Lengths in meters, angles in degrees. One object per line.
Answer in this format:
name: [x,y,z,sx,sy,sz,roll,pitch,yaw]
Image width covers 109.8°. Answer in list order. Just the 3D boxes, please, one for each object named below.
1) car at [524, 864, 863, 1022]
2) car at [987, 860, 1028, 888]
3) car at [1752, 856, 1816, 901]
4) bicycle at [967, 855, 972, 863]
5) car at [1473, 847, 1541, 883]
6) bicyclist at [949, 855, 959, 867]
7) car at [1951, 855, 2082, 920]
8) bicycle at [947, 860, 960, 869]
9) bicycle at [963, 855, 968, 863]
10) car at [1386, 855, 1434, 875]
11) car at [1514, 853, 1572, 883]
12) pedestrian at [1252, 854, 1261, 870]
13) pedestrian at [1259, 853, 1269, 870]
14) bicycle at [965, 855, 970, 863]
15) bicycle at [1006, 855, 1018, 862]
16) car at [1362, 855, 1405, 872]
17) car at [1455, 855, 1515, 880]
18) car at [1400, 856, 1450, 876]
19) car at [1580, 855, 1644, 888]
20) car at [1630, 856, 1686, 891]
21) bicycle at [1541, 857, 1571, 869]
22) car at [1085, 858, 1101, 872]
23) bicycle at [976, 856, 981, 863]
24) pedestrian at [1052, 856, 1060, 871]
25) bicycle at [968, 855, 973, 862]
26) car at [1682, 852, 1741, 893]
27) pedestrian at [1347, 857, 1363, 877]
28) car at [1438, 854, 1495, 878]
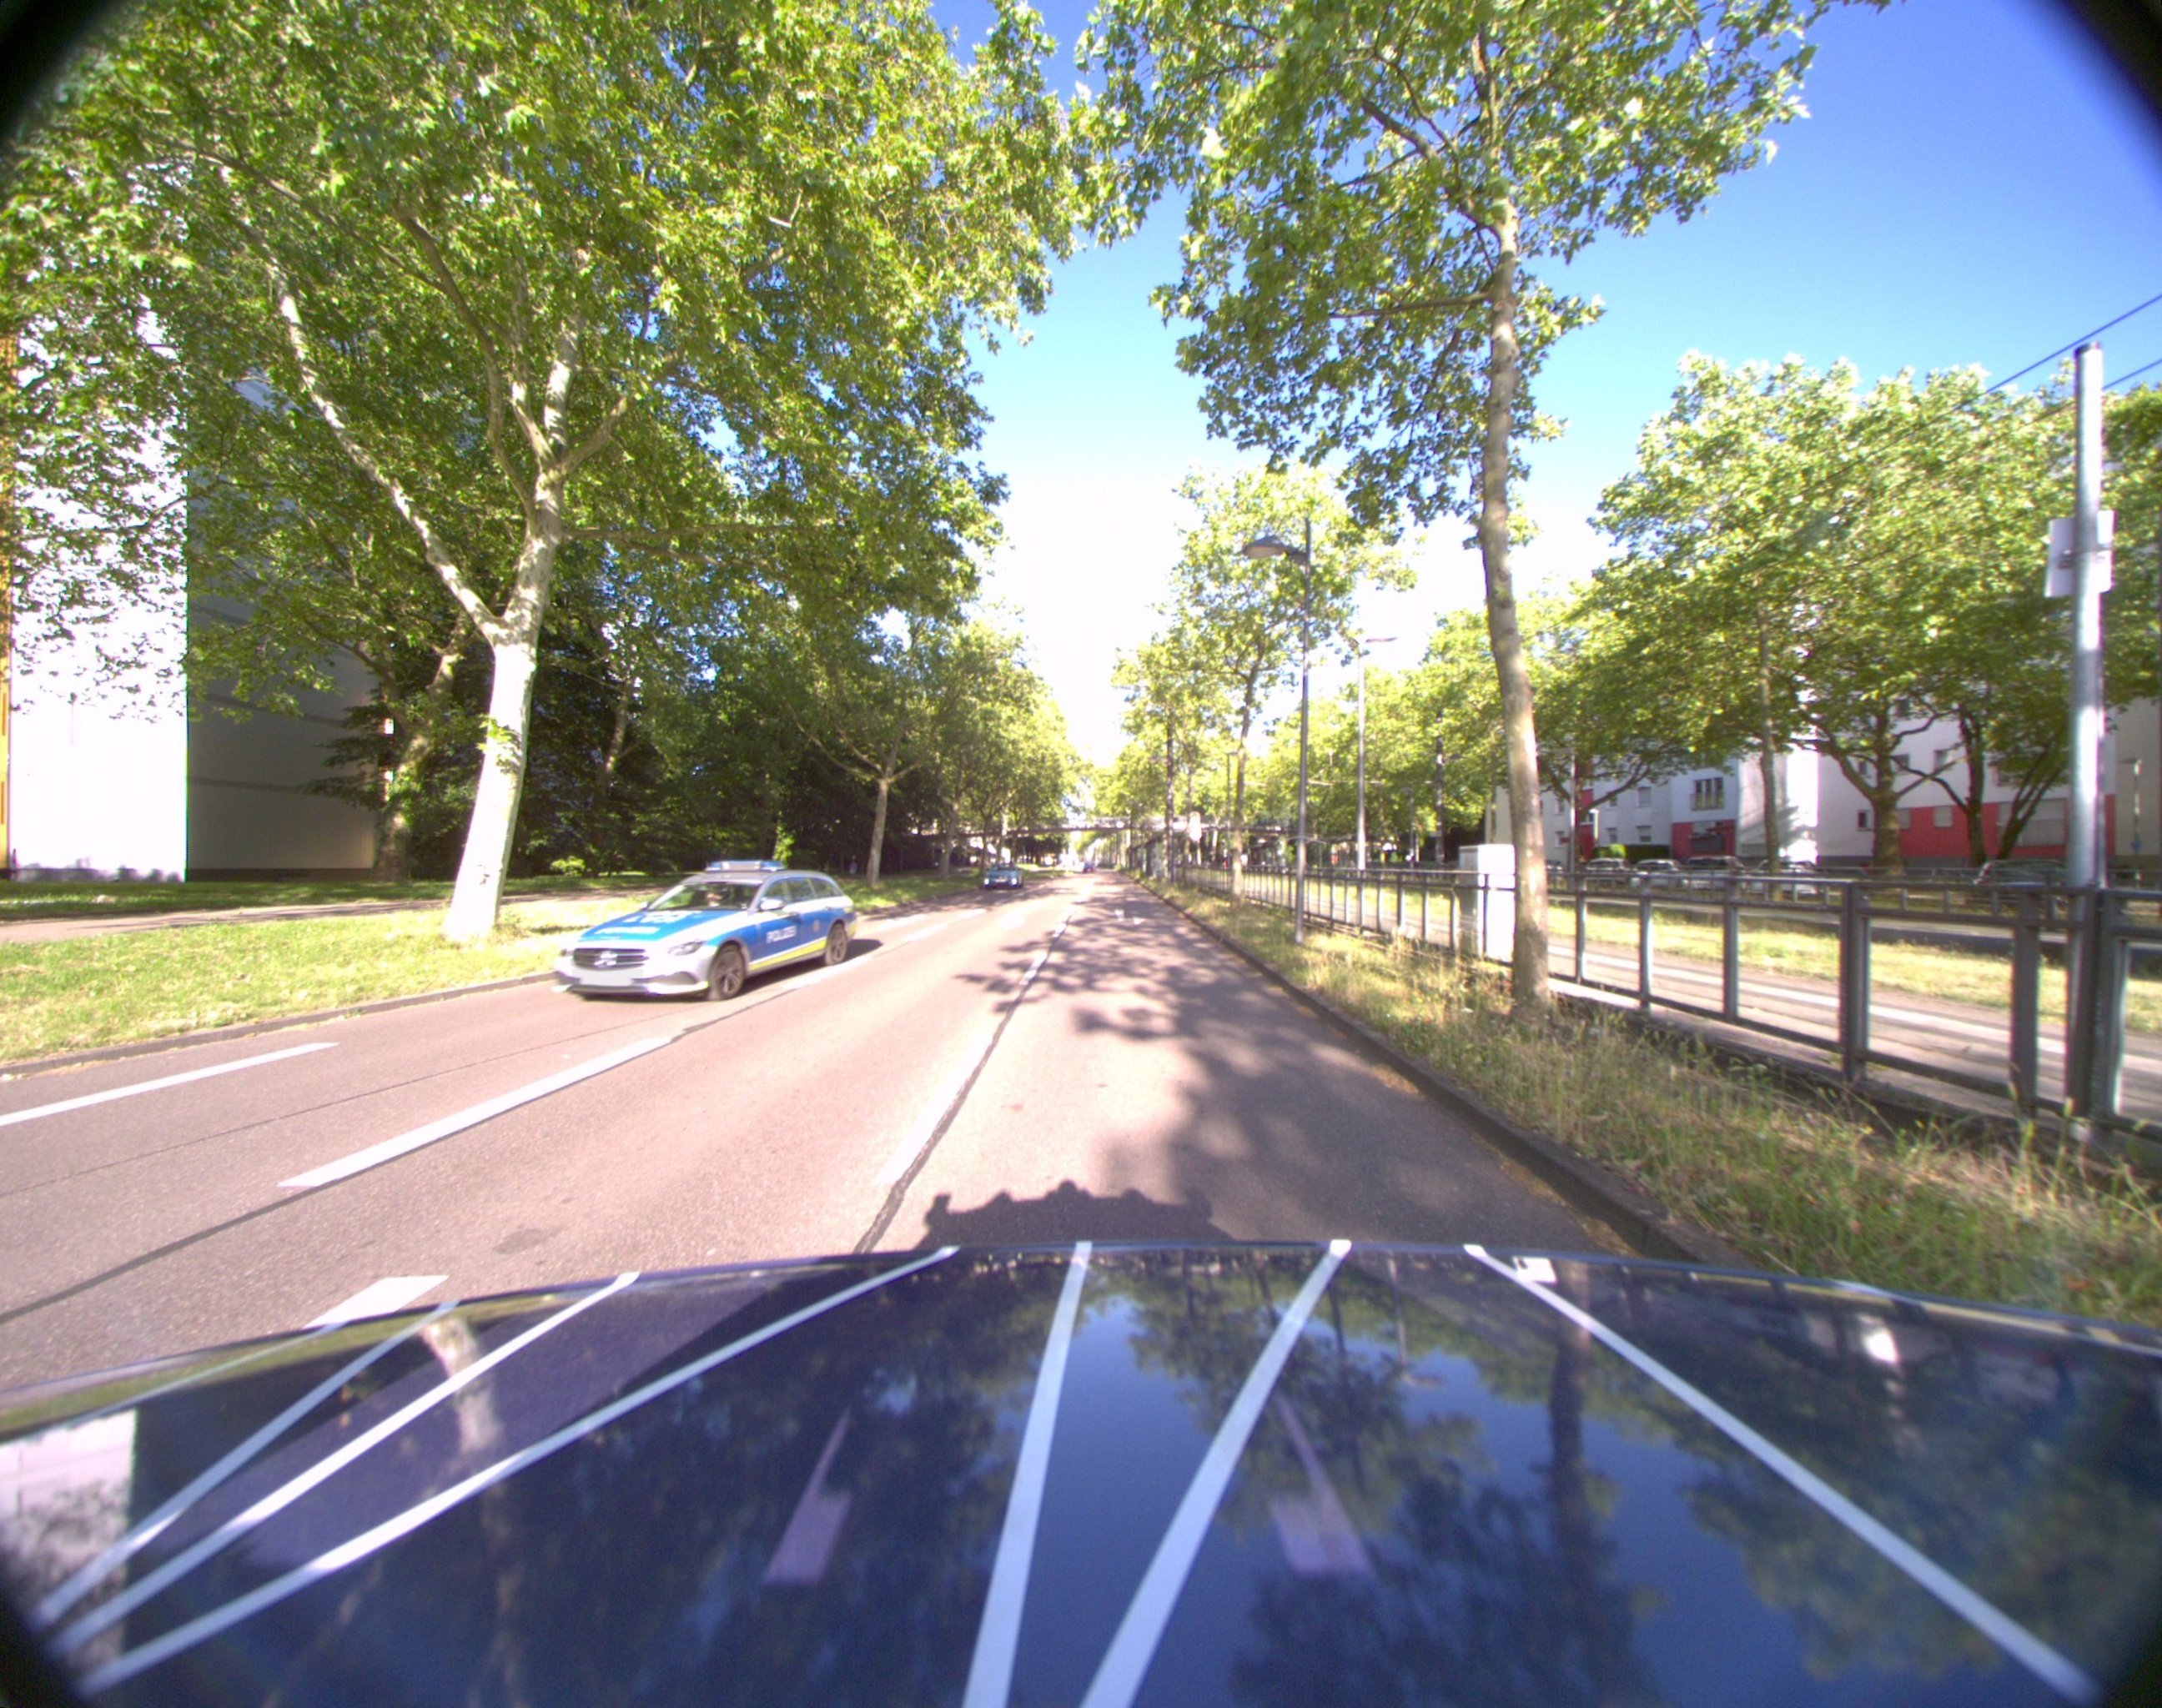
car: [-4.812,0.992,10.370,1.897,1.623,4.504,-1,0,7]
car: [-4.143,1.126,43.178,1.780,1.474,4.101,-2,-1,2]
car: [25.383,0.848,27.427,1.571,1.465,4.068,-2,-1,43]
bicycle: [-19.726,0.858,133.959,0.577,1.246,1.806,-2,0,0]
car: [26.029,0.677,46.397,4.508,2.051,1.895,-1,-1,-37]
bicyclist: [-17.652,1.014,105.483,0.954,1.622,0.817,1,0,38]
car: [24.848,0.819,20.333,1.642,1.535,4.184,-2,-1,43]
bicycle: [-17.712,1.460,105.514,1.831,1.140,0.817,1,-1,38]
bicycle: [-19.458,0.876,127.887,0.577,1.246,1.806,-2,0,0]
car: [26.908,0.888,62.135,4.208,1.420,1.696,-1,-1,-37]
car: [26.377,0.788,43.335,4.068,1.601,1.685,-1,-1,-42]
pedestrian: [16.802,0.748,72.767,0.644,1.505,0.683,1,1,-11]
pedestrian: [17.440,0.703,72.312,0.731,1.625,0.715,1,1,-1]
bicycle: [-19.635,0.864,131.883,0.577,1.246,1.806,-2,0,0]
bicycle: [-12.469,0.810,137.360,2.073,1.151,0.561,1,0,-10]
car: [27.455,0.847,68.885,4.208,1.420,1.696,-1,-1,-37]
car: [26.497,0.863,49.807,4.509,1.489,1.895,-1,-1,-40]
car: [26.849,0.900,59.330,4.208,1.420,1.696,-1,-1,-37]
car: [26.103,0.847,37.302,1.895,1.495,4.509,-2,-1,43]
car: [26.113,0.860,34.342,1.571,1.424,4.068,-2,-1,43]
bicycle: [38.288,0.713,61.252,0.697,0.922,2.596,-2,-1,-2]
car: [1.482,1.399,95.084,1.898,1.601,4.000,-2,0,1]
bicycle: [-18.319,1.021,135.644,0.577,1.246,1.806,-2,0,0]
pedestrian: [-3.004,1.107,90.822,0.658,1.766,0.741,-1,-1,39]
bicycle: [-20.105,0.867,138.475,0.577,1.246,1.806,-2,0,0]
car: [25.813,0.732,31.057,1.571,1.559,4.068,-2,-1,43]
pedestrian: [16.513,0.776,45.802,0.696,1.121,0.662,3,1,2]
car: [27.089,0.833,53.322,4.509,1.489,1.895,-1,-1,-40]
